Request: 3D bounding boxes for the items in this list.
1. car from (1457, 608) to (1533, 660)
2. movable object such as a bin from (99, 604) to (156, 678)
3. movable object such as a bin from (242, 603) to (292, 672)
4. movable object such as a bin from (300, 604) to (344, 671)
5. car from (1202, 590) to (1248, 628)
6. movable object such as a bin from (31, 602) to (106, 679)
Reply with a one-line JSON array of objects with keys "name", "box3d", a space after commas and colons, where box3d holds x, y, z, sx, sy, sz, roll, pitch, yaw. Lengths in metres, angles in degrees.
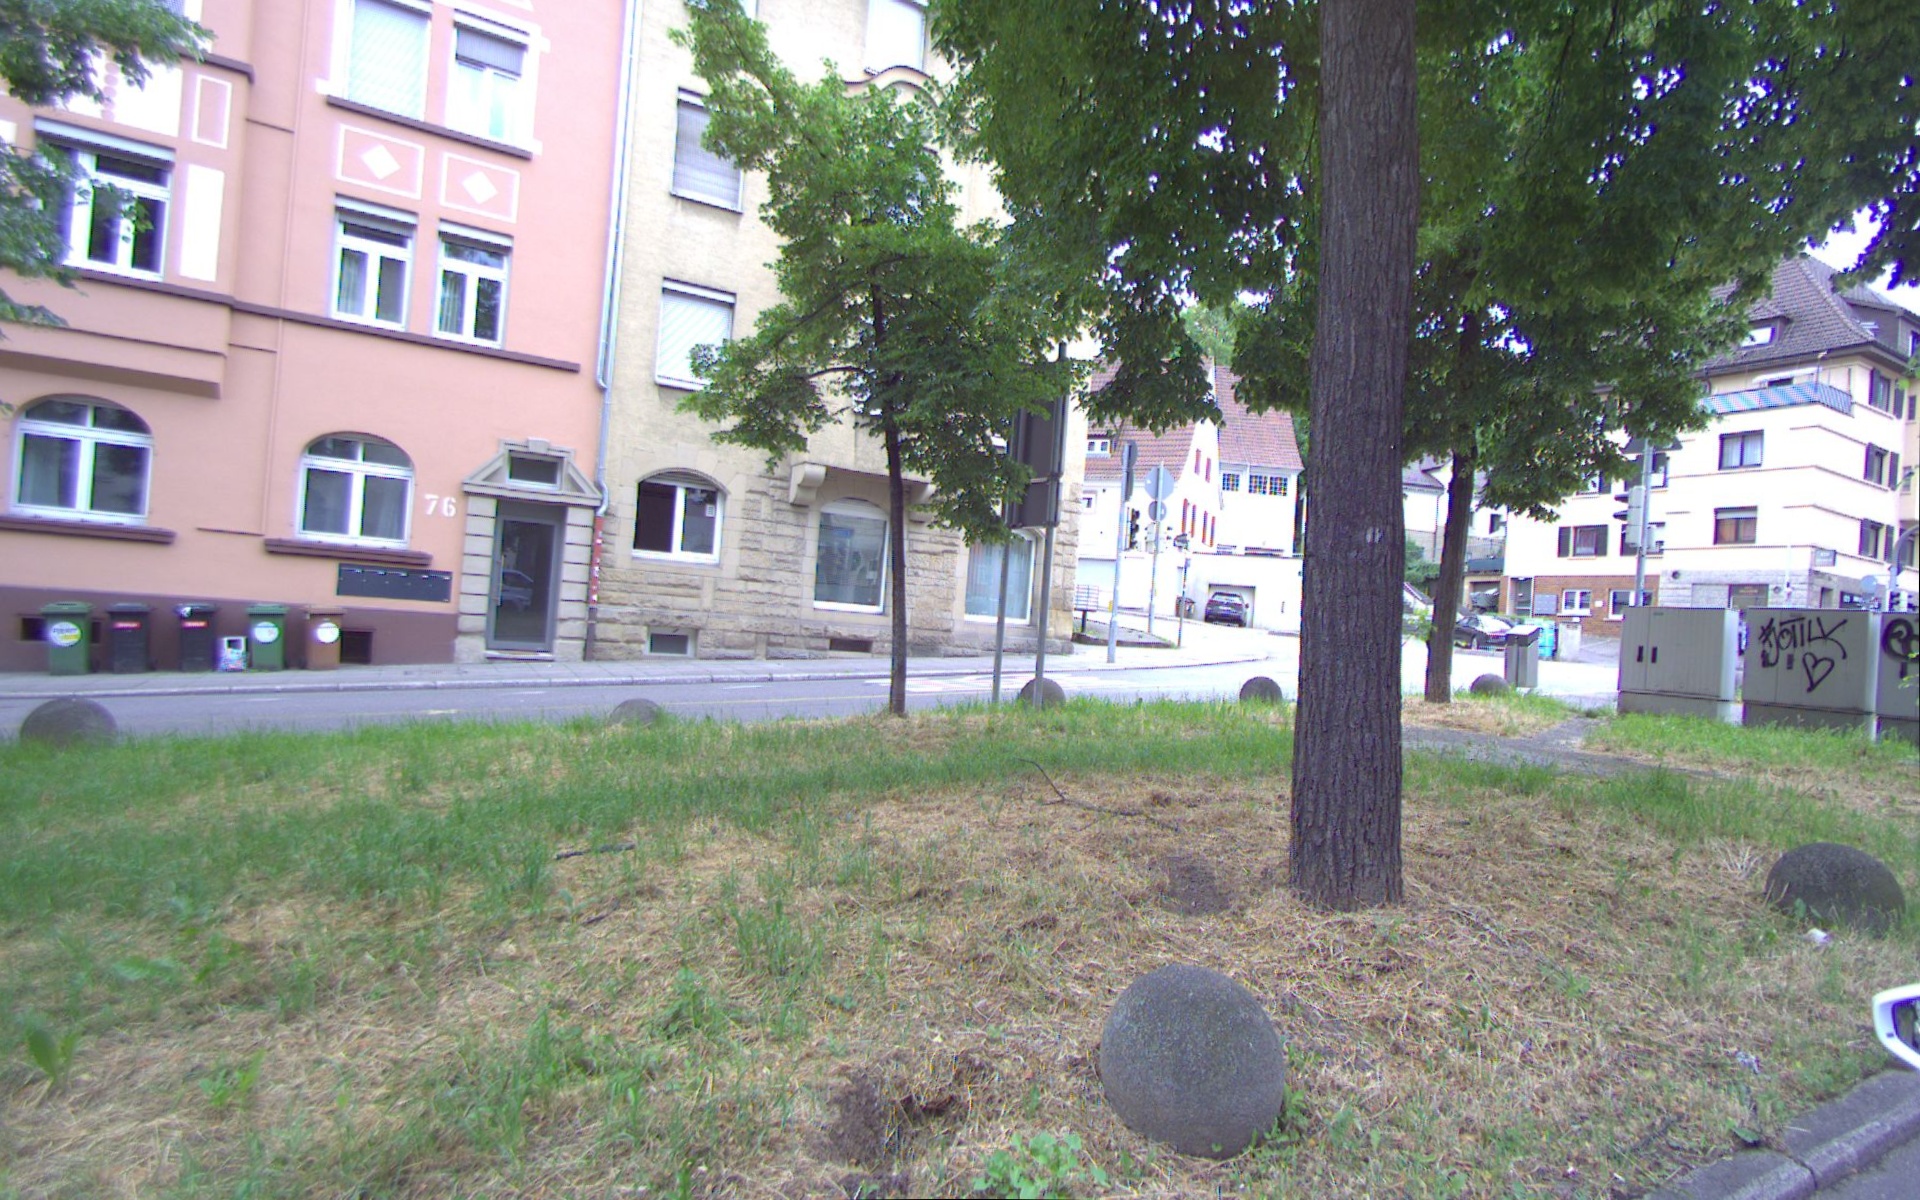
[{"name": "car", "box3d": [21.806, 1.336, 41.080, 1.832, 1.619, 3.519, 2, 6, 13]}, {"name": "movable object such as a bin", "box3d": [-11.157, 0.545, 13.481, 0.527, 0.958, 0.576, 2, 0, -36]}, {"name": "movable object such as a bin", "box3d": [-9.810, 0.521, 14.234, 0.554, 0.934, 0.649, 2, 0, -34]}, {"name": "movable object such as a bin", "box3d": [-9.263, 0.539, 14.581, 0.510, 0.934, 0.752, 2, 0, -34]}, {"name": "car", "box3d": [11.777, 0.373, 44.833, 1.638, 1.424, 3.058, 7, 3, 11]}, {"name": "movable object such as a bin", "box3d": [-11.653, 0.523, 13.149, 0.611, 0.961, 0.613, 2, 0, -31]}]
